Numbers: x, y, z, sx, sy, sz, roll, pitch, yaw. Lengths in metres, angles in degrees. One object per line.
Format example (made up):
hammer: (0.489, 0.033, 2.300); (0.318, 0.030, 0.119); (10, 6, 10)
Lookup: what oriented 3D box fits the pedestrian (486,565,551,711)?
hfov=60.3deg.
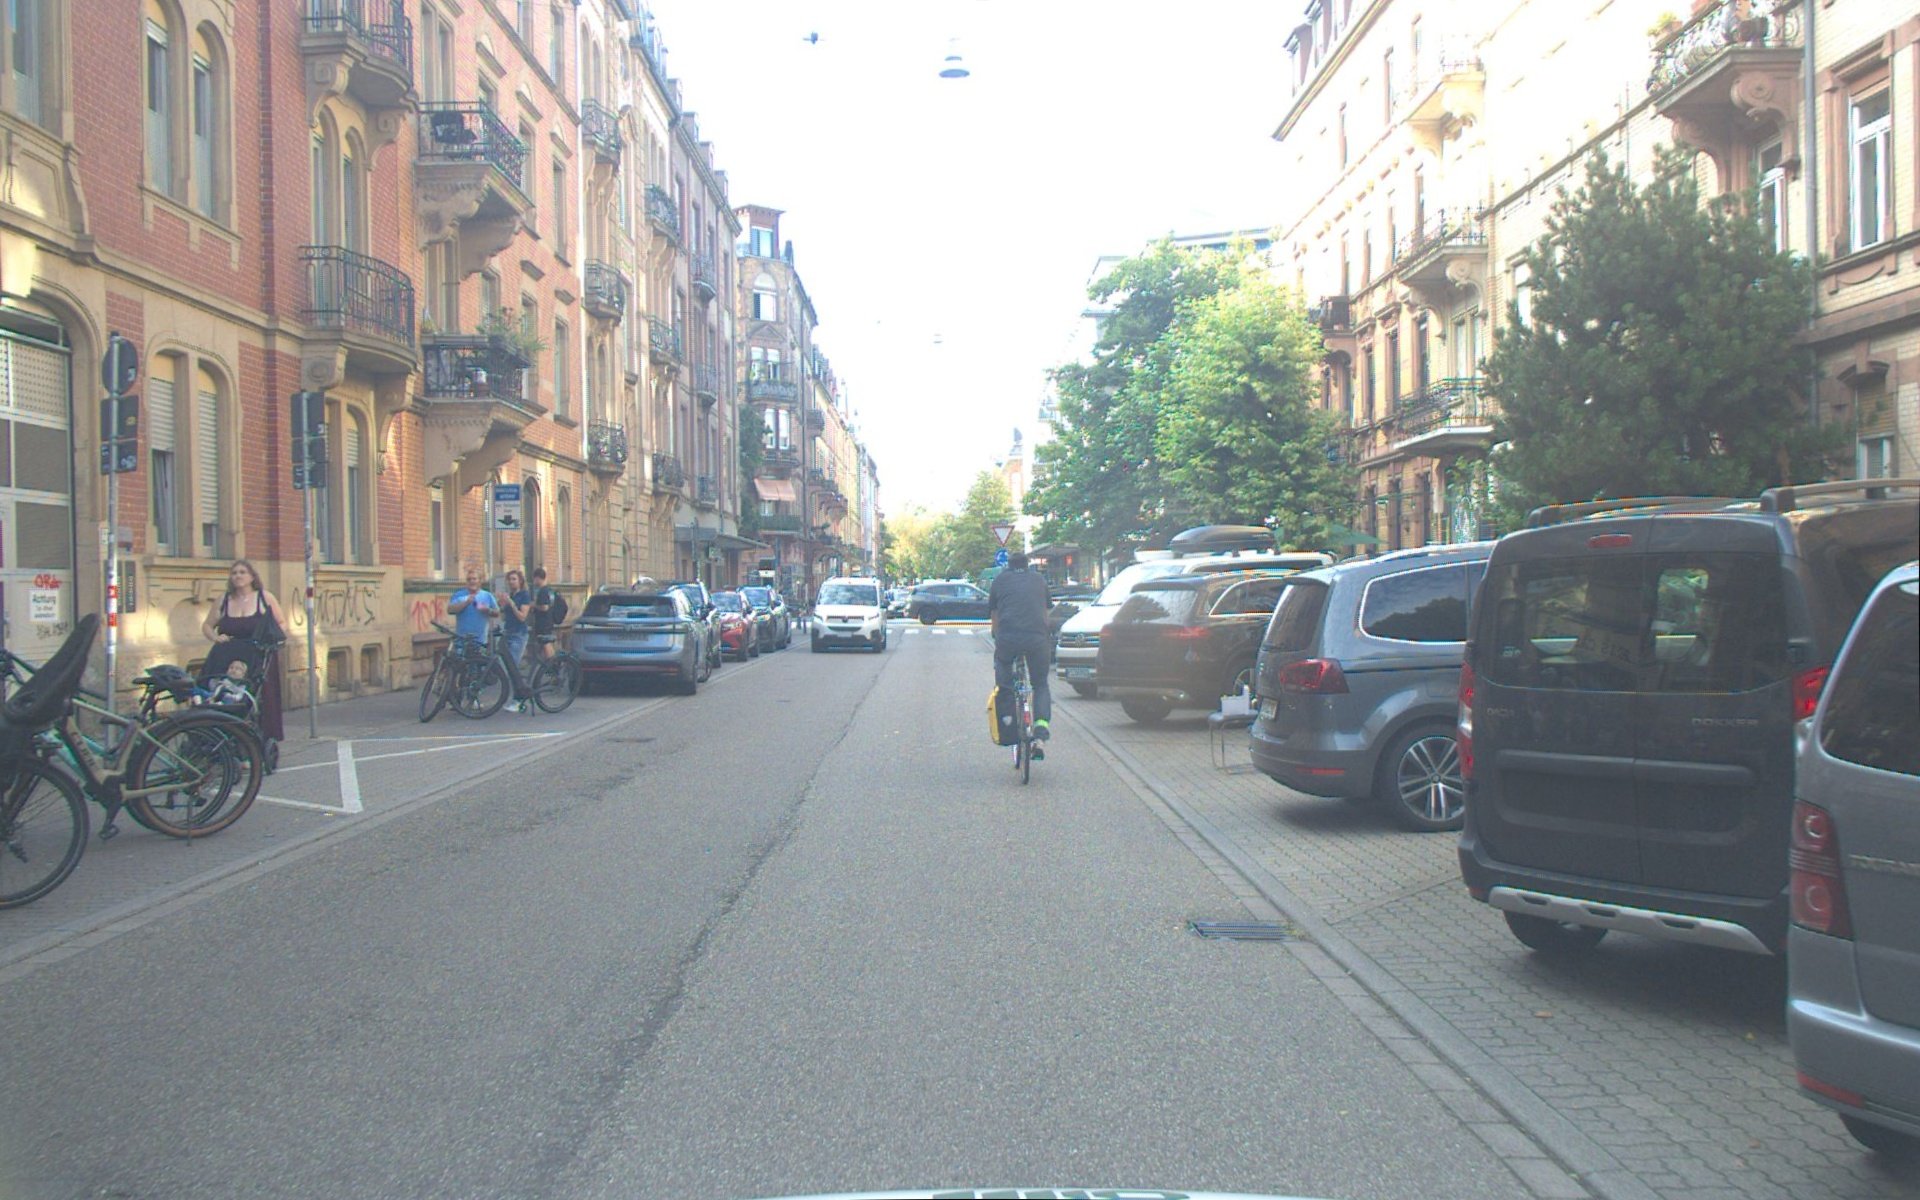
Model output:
pedestrian: (-5.376, 0.452, 20.144); (0.559, 1.739, 0.659); (1, 0, -36)

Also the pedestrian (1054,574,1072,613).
pedestrian: (5.030, -0.306, 80.898); (0.850, 1.883, 0.613); (-1, 0, 4)

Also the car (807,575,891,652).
car: (-2.788, 0.309, 42.462); (1.878, 1.860, 4.437); (0, 0, -1)

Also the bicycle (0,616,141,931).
bicycle: (-4.506, 0.749, 7.158); (1.659, 1.345, 0.521); (0, 0, -37)

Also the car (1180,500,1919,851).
car: (3.876, 0.396, 10.726); (4.544, 1.815, 1.809); (-3, 2, -2)

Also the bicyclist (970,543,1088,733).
bicyclist: (0.557, 0.303, 13.589); (0.914, 1.510, 0.747); (0, 0, -1)

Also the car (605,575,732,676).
car: (-5.324, 0.408, 30.750); (1.836, 1.710, 4.890); (0, 1, -5)

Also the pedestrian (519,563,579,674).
pedestrian: (-6.937, 0.309, 27.947); (0.740, 1.839, 0.863); (1, 0, 2)

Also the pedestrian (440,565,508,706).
pedestrian: (-5.957, 0.424, 20.261); (0.672, 1.690, 0.545); (1, 0, -31)

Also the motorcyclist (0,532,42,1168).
motorcyclist: (-2.374, 0.496, 3.000); (0.994, 1.267, 0.802); (0, 0, -7)

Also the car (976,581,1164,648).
car: (2.976, 0.354, 44.547); (4.702, 1.482, 2.037); (-4, 2, -29)

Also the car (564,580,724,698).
car: (-4.672, 0.519, 25.107); (1.789, 1.606, 5.259); (0, 0, -4)

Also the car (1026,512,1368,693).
car: (3.608, -0.029, 24.705); (5.099, 2.447, 1.895); (-2, 0, -35)

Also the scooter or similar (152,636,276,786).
scooter or similar: (-5.710, 0.833, 12.697); (0.594, 1.073, 0.921); (1, 0, -6)

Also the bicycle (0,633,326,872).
bicycle: (-4.809, 0.801, 9.308); (0.792, 1.179, 2.261); (1, 0, 36)

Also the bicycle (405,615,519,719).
bicycle: (-5.705, 0.740, 19.057); (0.482, 1.114, 1.906); (1, 0, 8)

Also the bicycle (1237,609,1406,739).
bicycle: (3.556, 0.705, 16.427); (0.400, 1.203, 1.896); (-2, 0, -32)

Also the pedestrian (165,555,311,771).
pedestrian: (-5.844, 0.492, 13.434); (0.894, 1.690, 0.826); (1, 0, -9)

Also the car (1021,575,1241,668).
car: (3.491, 0.391, 33.232); (4.430, 1.502, 1.861); (-5, 3, -41)

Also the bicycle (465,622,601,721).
bicycle: (-4.969, 0.811, 19.392); (0.472, 1.078, 1.904); (1, 0, 23)

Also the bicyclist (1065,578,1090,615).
bicyclist: (5.468, -0.178, 76.723); (0.782, 1.694, 0.845); (0, 0, -40)

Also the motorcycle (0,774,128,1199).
motorcycle: (-2.312, 0.949, 2.842); (0.778, 1.012, 2.495); (1, 0, -7)

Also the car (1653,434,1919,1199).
car: (3.880, 0.453, 4.387); (3.949, 1.771, 1.819); (-2, 1, -32)

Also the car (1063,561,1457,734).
car: (3.487, 0.453, 18.895); (4.408, 1.762, 1.975); (0, 1, -36)

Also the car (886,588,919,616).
car: (-3.084, 0.111, 88.337); (1.715, 1.461, 4.209); (0, 0, -3)

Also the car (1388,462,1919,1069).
car: (4.000, 0.426, 6.982); (4.350, 1.854, 1.735); (-3, 0, -33)

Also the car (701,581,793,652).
car: (-5.335, 0.390, 41.960); (1.754, 1.657, 4.846); (-1, 0, -1)

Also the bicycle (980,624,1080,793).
bicycle: (0.535, 0.823, 13.503); (0.652, 1.198, 2.496); (0, 0, -1)

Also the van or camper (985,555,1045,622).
van or camper: (2.635, -0.547, 79.920); (2.481, 3.090, 4.456); (-1, 0, -3)

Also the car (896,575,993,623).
car: (-0.658, -0.033, 68.379); (3.906, 1.914, 1.999); (0, 0, -2)

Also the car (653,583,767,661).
car: (-5.436, 0.454, 36.485); (1.953, 1.572, 4.425); (-1, 0, -2)

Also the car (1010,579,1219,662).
car: (3.407, 0.411, 36.134); (4.420, 1.489, 1.856); (-4, 2, -36)
